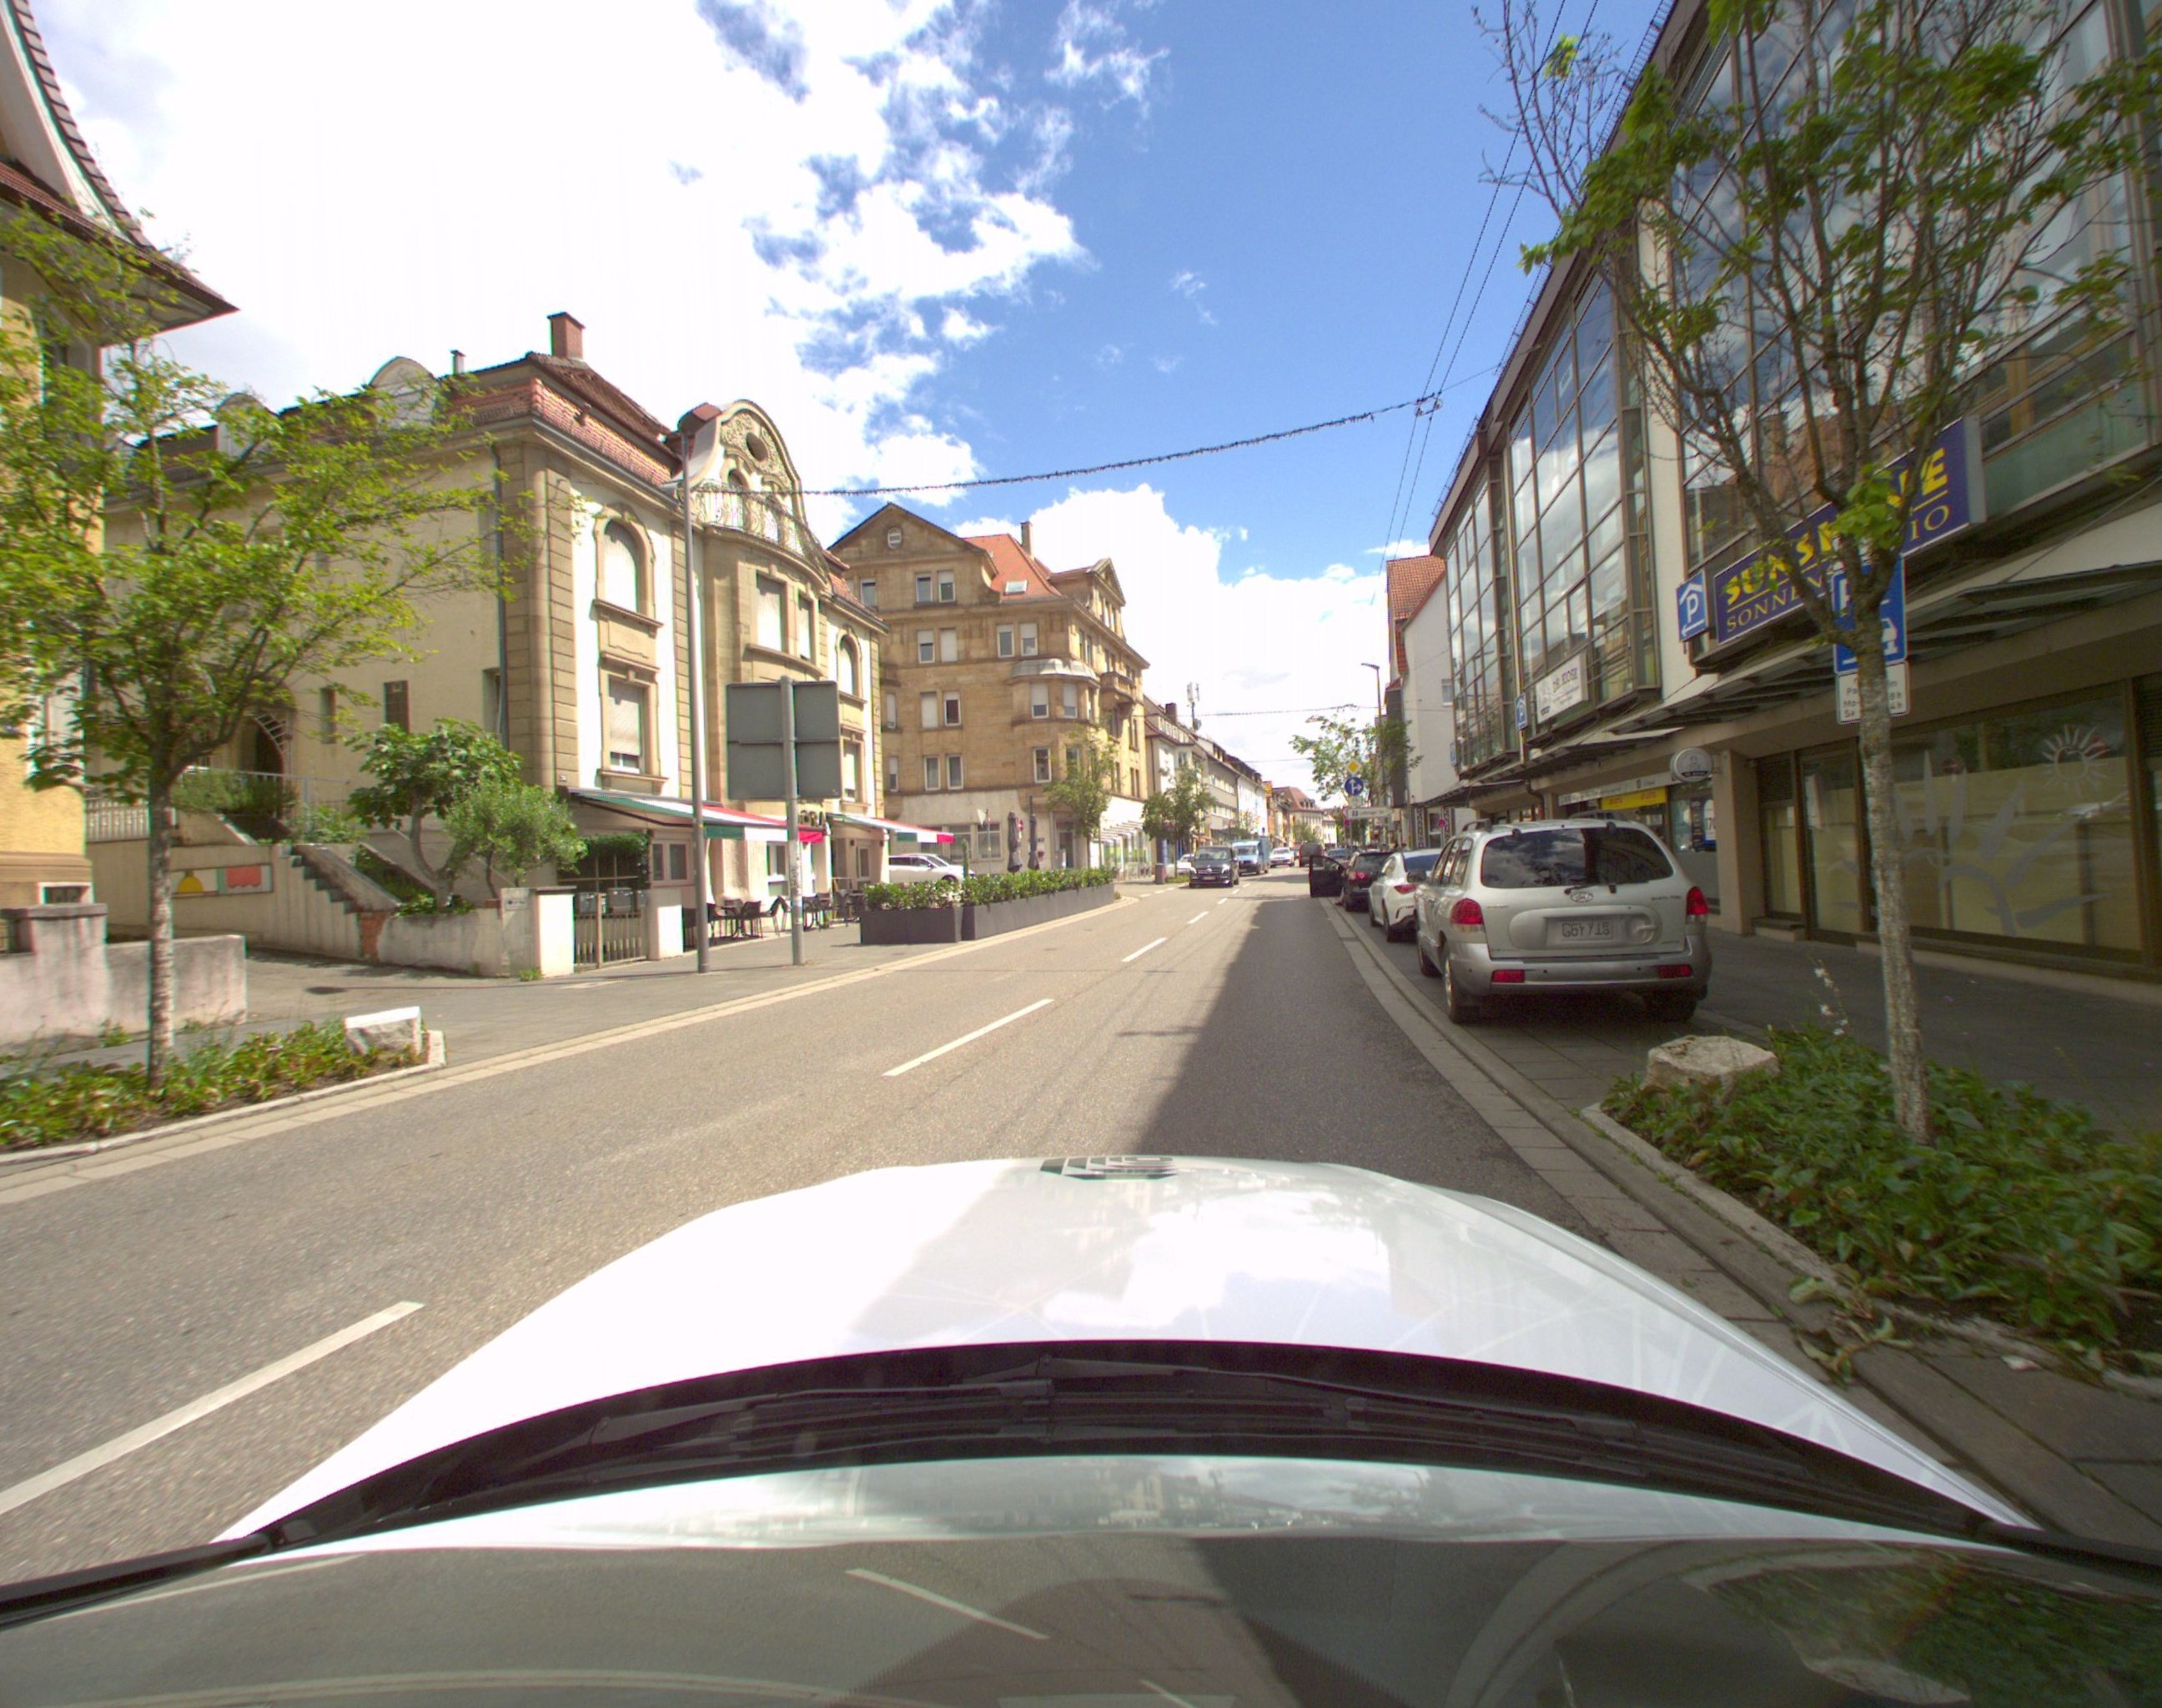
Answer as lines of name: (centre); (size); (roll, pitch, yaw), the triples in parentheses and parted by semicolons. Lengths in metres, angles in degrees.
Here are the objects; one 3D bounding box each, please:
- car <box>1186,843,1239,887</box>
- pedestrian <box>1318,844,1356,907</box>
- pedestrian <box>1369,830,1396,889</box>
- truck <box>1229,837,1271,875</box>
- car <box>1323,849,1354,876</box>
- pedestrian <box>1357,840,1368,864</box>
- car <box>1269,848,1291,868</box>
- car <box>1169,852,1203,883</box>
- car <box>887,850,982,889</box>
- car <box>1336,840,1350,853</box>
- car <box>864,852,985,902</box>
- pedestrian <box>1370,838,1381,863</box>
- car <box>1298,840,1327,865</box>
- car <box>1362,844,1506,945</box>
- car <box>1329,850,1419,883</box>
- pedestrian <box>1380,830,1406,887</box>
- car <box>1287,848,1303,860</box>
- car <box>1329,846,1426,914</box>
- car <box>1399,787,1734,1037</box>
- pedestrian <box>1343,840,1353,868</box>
car: (5.982, 0.472, 36.627); (1.821, 1.835, 4.588); (-2, -1, 15)
pedestrian: (6.662, 0.542, 21.175); (0.681, 1.594, 0.659); (0, -1, -38)
pedestrian: (10.516, 0.202, 28.427); (0.685, 2.014, 0.726); (-2, -1, 10)
truck: (10.653, 0.107, 51.030); (2.050, 2.165, 5.317); (-3, 0, 17)
car: (15.014, 0.449, 47.557); (1.509, 1.434, 3.384); (-3, 0, 15)
pedestrian: (22.208, -0.137, 64.314); (0.571, 1.890, 0.643); (-1, -1, -12)
car: (16.780, 0.364, 68.483); (1.685, 1.585, 3.972); (-2, -1, 14)
car: (6.341, 0.796, 49.092); (1.698, 1.712, 4.013); (-2, 0, 11)
car: (-6.942, 0.716, 38.716); (3.963, 1.662, 1.914); (-2, -1, 9)
car: (49.091, -1.362, 152.374); (2.046, 2.301, 4.247); (-1, -1, 23)
car: (-6.223, 0.907, 32.751); (4.406, 1.776, 1.999); (-2, -1, -1)
pedestrian: (24.102, -0.307, 66.639); (0.677, 2.014, 0.601); (-2, -1, 12)
car: (18.644, -0.132, 65.404); (1.956, 1.875, 5.061); (-3, 0, 18)
car: (5.877, 0.585, 14.014); (1.609, 1.434, 4.256); (-3, 0, 15)
car: (12.867, 0.550, 35.948); (3.595, 1.413, 1.596); (-1, -1, 14)
pedestrian: (11.331, 0.154, 29.554); (0.685, 2.014, 0.726); (-2, -1, 10)
car: (30.393, -0.046, 115.762); (1.979, 1.585, 4.015); (-2, -1, 14)
car: (7.222, 0.574, 20.192); (1.595, 1.434, 4.188); (-3, 0, 11)
car: (4.242, 0.446, 7.915); (1.809, 1.731, 4.253); (-4, -1, 18)
pedestrian: (19.730, -0.004, 60.142); (0.676, 2.014, 0.602); (-2, -1, 19)
